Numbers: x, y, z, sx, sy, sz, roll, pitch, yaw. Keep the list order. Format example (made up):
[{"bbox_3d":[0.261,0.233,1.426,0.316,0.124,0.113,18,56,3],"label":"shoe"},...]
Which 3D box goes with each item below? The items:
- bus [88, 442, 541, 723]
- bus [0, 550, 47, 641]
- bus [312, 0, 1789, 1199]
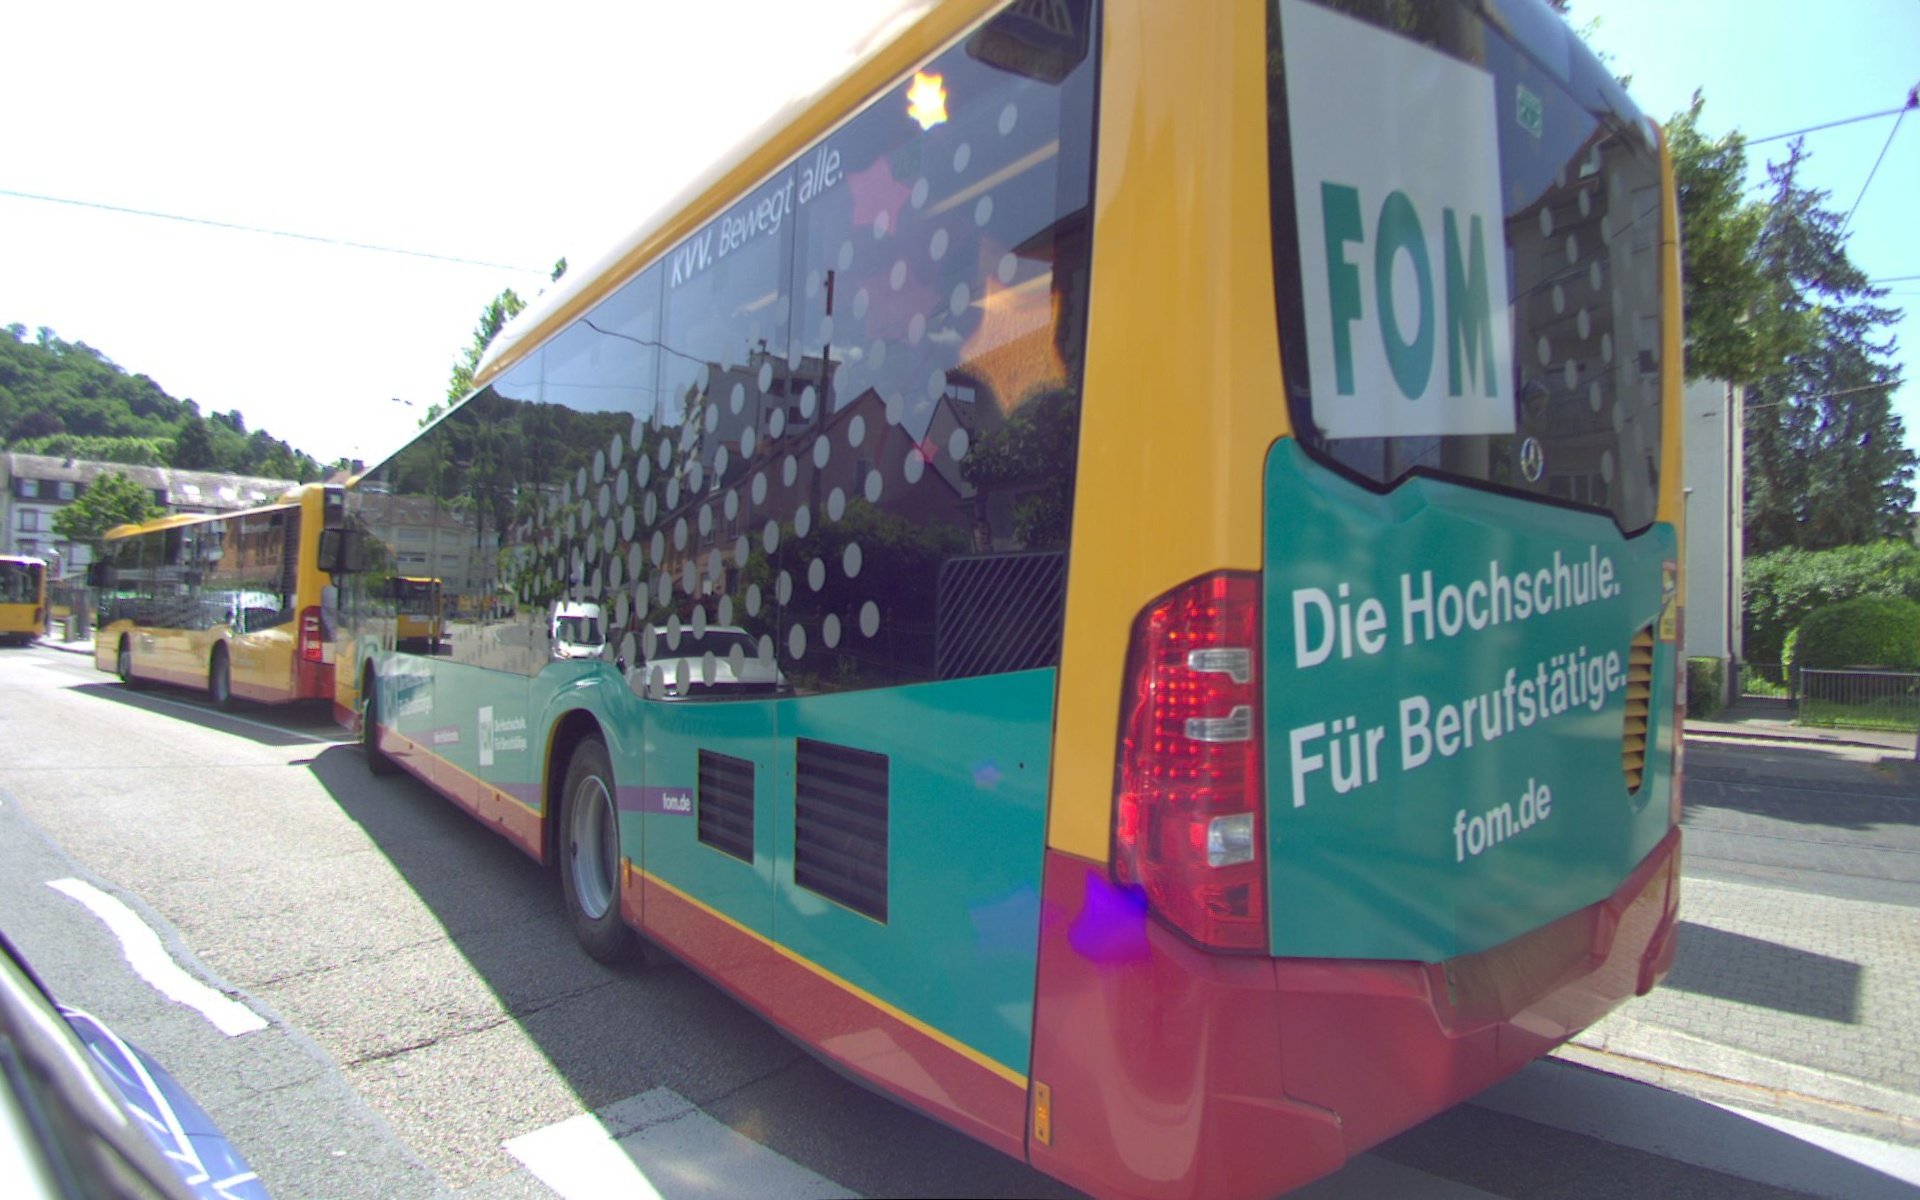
[{"bbox_3d":[-11.352,-0.268,16.823,12.109,3.272,2.878,1,0,40],"label":"bus"},{"bbox_3d":[-38.987,-0.320,39.979,12.191,3.271,2.868,2,1,41],"label":"bus"},{"bbox_3d":[-2.296,-0.211,7.175,2.744,3.233,12.331,0,-1,-38],"label":"bus"}]
